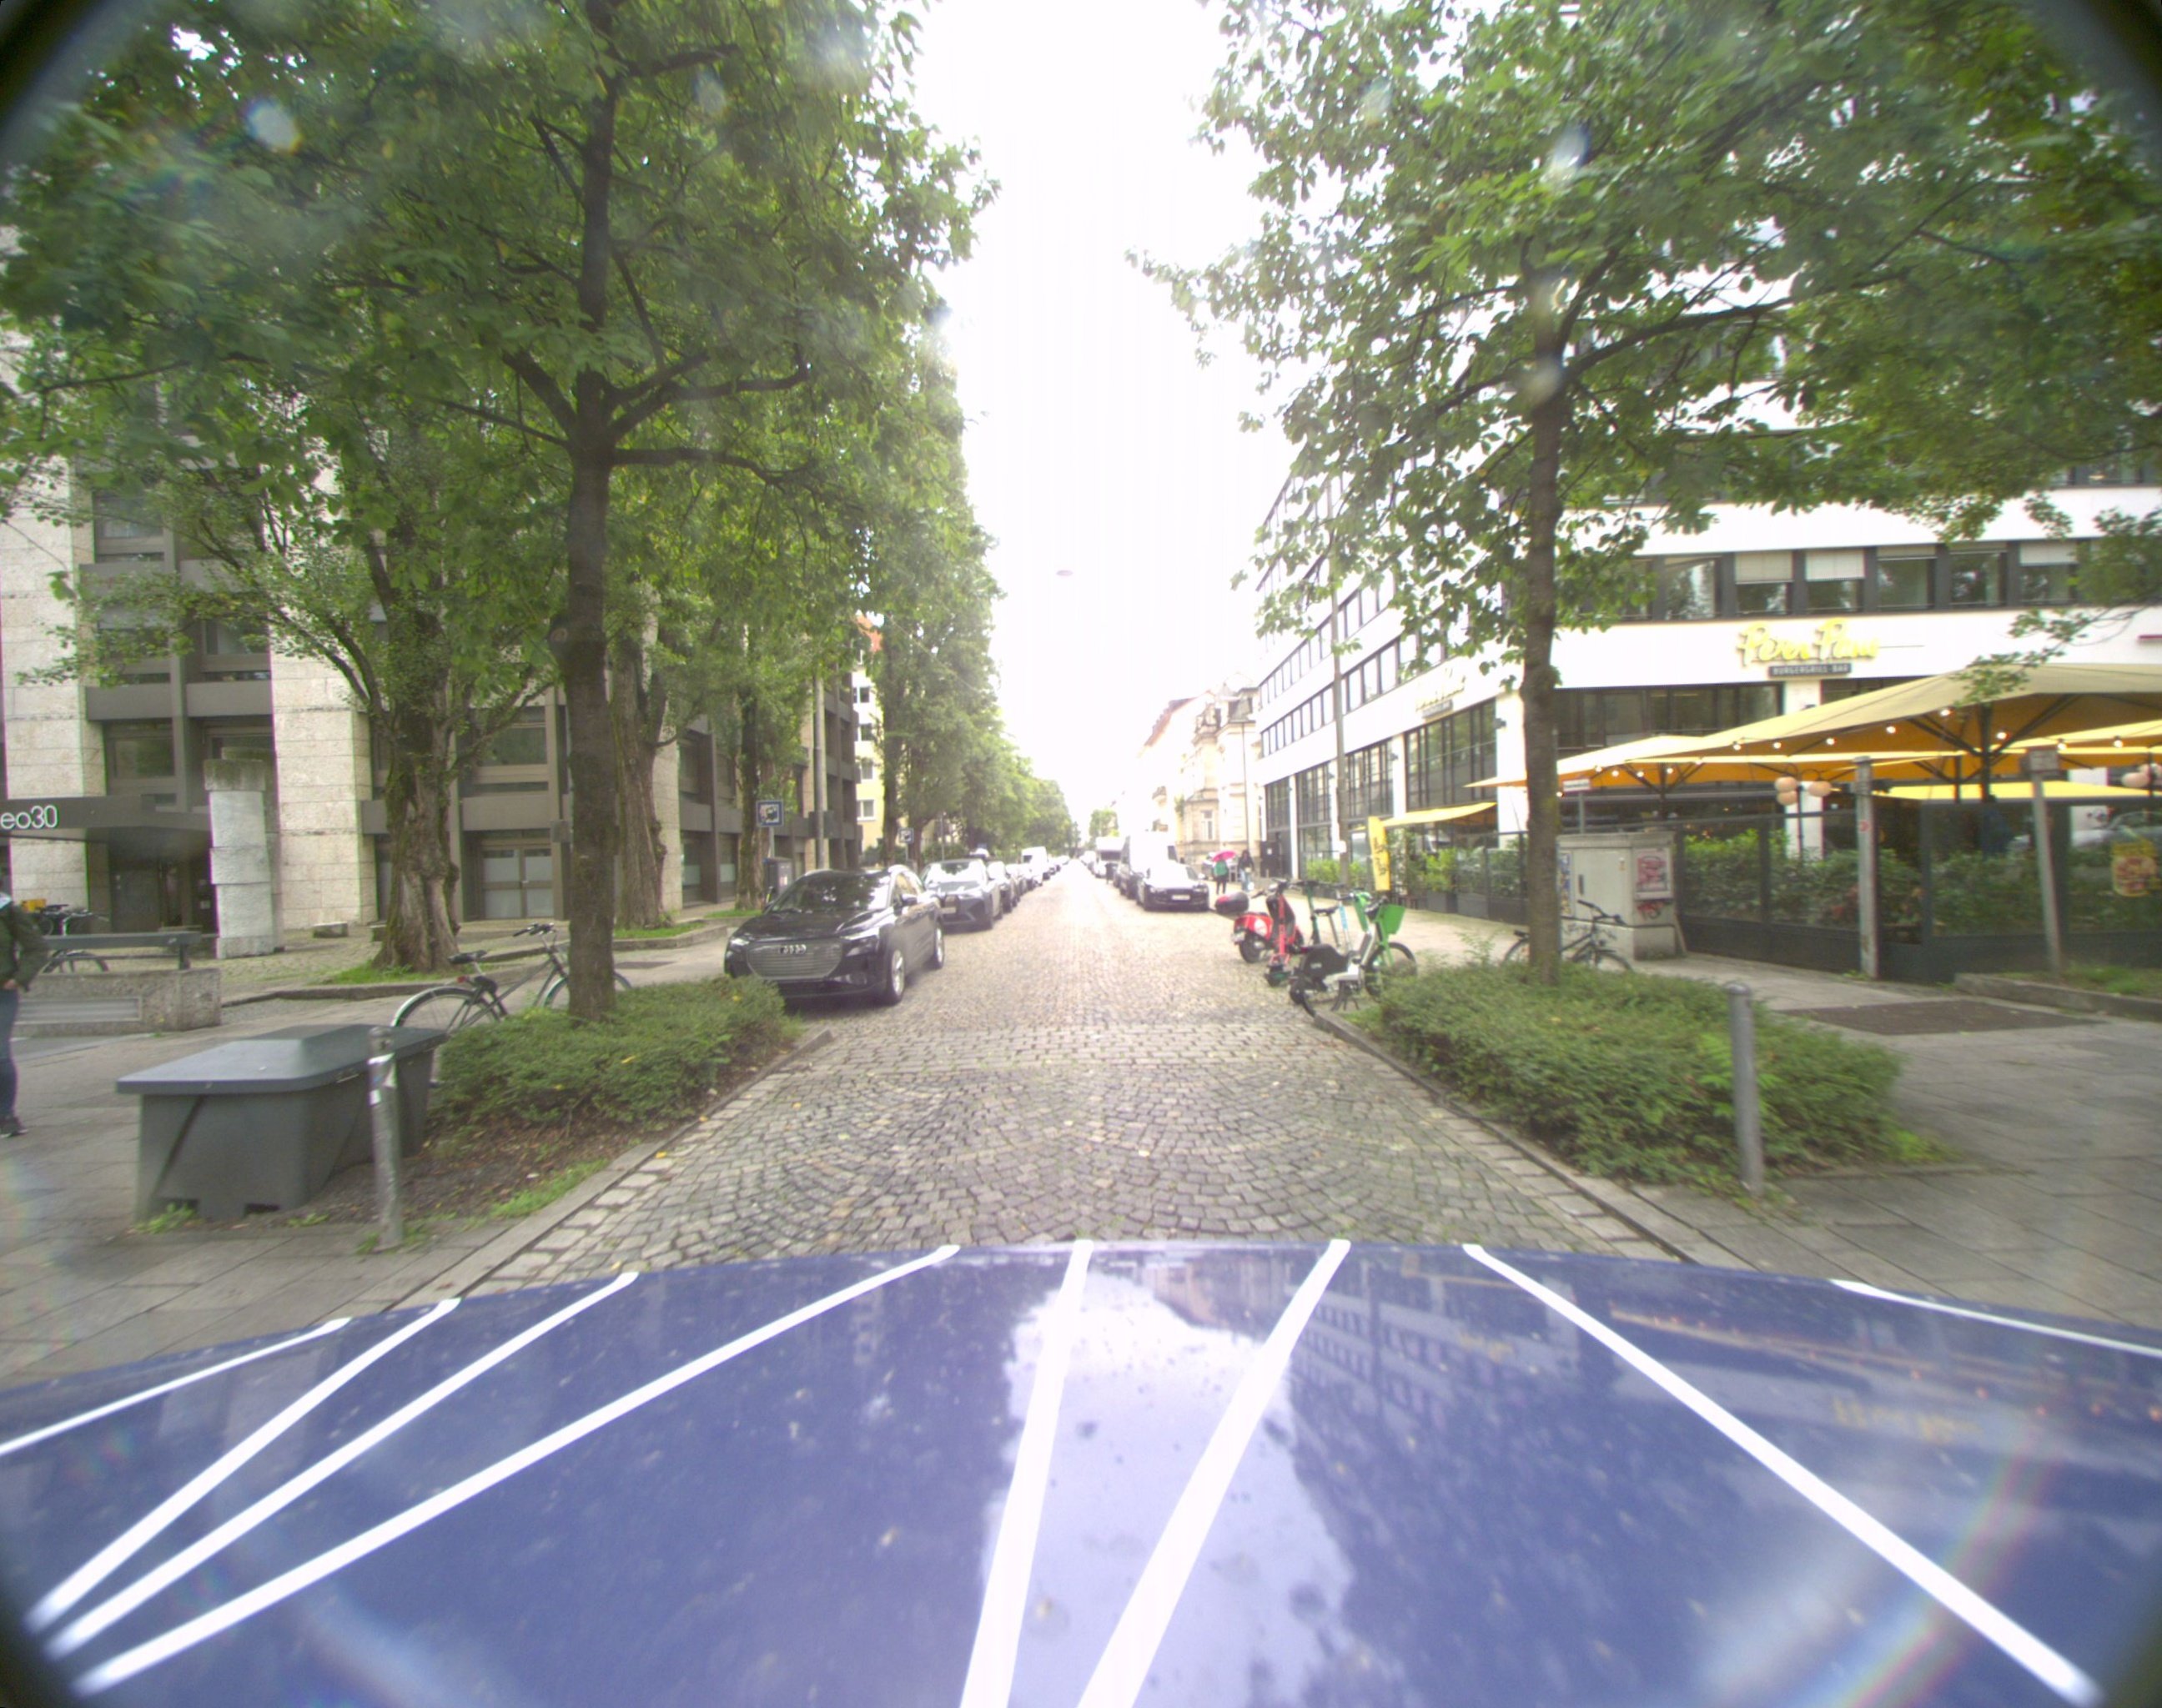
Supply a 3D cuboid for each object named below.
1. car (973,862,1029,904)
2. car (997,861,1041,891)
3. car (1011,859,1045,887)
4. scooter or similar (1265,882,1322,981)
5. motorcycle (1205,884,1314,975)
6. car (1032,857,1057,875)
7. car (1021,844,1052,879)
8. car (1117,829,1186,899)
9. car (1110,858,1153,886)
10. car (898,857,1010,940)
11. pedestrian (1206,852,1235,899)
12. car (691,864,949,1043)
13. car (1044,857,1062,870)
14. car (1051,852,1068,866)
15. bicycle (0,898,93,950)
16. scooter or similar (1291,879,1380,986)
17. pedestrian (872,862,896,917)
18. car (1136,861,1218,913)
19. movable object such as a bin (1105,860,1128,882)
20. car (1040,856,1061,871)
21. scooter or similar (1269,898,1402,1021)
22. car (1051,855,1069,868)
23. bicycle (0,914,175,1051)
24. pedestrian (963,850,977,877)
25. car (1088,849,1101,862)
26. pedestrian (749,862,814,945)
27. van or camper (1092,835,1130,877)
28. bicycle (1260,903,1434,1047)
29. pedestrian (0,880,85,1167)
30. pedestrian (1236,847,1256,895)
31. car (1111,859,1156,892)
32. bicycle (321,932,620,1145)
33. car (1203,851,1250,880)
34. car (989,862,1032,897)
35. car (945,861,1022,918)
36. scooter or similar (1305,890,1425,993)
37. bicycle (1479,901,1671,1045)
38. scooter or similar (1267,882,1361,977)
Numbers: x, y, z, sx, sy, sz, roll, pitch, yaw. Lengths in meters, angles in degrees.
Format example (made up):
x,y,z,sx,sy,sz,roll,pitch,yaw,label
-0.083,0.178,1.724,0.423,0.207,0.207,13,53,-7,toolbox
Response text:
x,y,z,sx,sy,sz,roll,pitch,yaw,label
-3.214,1.149,31.161,1.723,1.382,4.205,-5,1,0,car
-3.234,1.141,40.605,1.999,1.379,3.873,-3,0,-1,car
-3.139,1.103,45.980,1.868,1.490,3.872,-3,0,-3,car
3.015,1.052,10.720,0.326,1.265,1.360,-1,0,34,scooter or similar
2.761,1.093,11.598,0.769,1.189,1.995,0,0,41,motorcycle
-3.125,1.000,64.900,1.999,1.379,3.872,-3,0,-3,car
-3.396,0.546,58.603,2.088,2.418,5.609,-3,0,-2,car
2.684,0.357,30.292,2.065,2.476,5.848,-1,0,-1,car
2.681,0.950,41.282,1.999,1.380,3.999,-2,0,-1,car
-2.994,0.991,18.973,2.018,1.690,4.672,-3,0,-1,car
5.222,0.799,28.417,0.928,1.696,0.800,-2,1,3,pedestrian
-3.053,1.055,9.945,1.925,1.690,4.200,-3,0,-1,car
-3.150,1.050,85.703,1.999,1.379,3.872,-2,0,-3,car
-2.682,0.625,95.269,1.999,1.680,3.872,-3,0,-3,car
-25.972,1.721,18.561,0.647,1.149,2.246,-2,0,0,bicycle
3.295,0.982,9.803,1.253,1.265,0.327,-2,1,-30,scooter or similar
-5.952,1.058,23.028,0.489,1.619,0.568,-2,1,3,pedestrian
2.798,0.930,23.118,1.998,1.322,4.116,-2,0,1,car
2.169,1.030,46.404,1.255,1.290,1.174,-2,0,-4,movable object such as a bin
-3.084,0.916,77.179,1.999,1.379,3.872,-3,0,-3,car
2.725,1.087,8.092,1.432,1.137,0.369,-2,1,-23,scooter or similar
-2.555,0.902,90.642,1.999,1.379,3.872,-2,0,-3,car
-10.819,1.326,7.921,1.867,1.269,0.722,-2,1,2,bicycle
-6.250,0.524,42.825,0.645,1.528,0.709,-2,1,-3,pedestrian
2.512,0.332,145.503,2.088,2.418,5.610,-2,0,-2,car
-6.450,1.040,16.386,0.867,1.704,0.913,-2,1,19,pedestrian
2.320,0.131,60.503,2.464,3.029,7.316,-2,0,-1,van or camper
2.608,1.112,7.372,1.765,1.136,0.552,-2,1,-31,bicycle
-6.771,1.024,4.584,0.689,1.691,0.665,-2,1,16,pedestrian
6.072,0.618,27.951,0.575,1.738,0.651,-2,1,3,pedestrian
2.505,1.000,37.068,1.998,1.422,4.000,-1,0,2,car
-4.422,1.258,5.722,0.475,1.130,1.877,-2,0,9,bicycle
8.213,0.628,43.249,1.912,1.523,4.169,-2,0,1,car
-3.275,1.180,35.922,1.605,1.422,3.562,-4,0,-1,car
-3.058,1.071,24.713,1.999,1.573,4.341,-2,0,-1,car
3.338,1.023,8.962,1.250,1.137,0.327,-2,1,1,scooter or similar
4.393,0.998,6.922,0.553,1.016,1.762,-2,0,-1,bicycle
3.156,0.991,10.372,0.391,1.173,1.248,-2,0,-31,scooter or similar
